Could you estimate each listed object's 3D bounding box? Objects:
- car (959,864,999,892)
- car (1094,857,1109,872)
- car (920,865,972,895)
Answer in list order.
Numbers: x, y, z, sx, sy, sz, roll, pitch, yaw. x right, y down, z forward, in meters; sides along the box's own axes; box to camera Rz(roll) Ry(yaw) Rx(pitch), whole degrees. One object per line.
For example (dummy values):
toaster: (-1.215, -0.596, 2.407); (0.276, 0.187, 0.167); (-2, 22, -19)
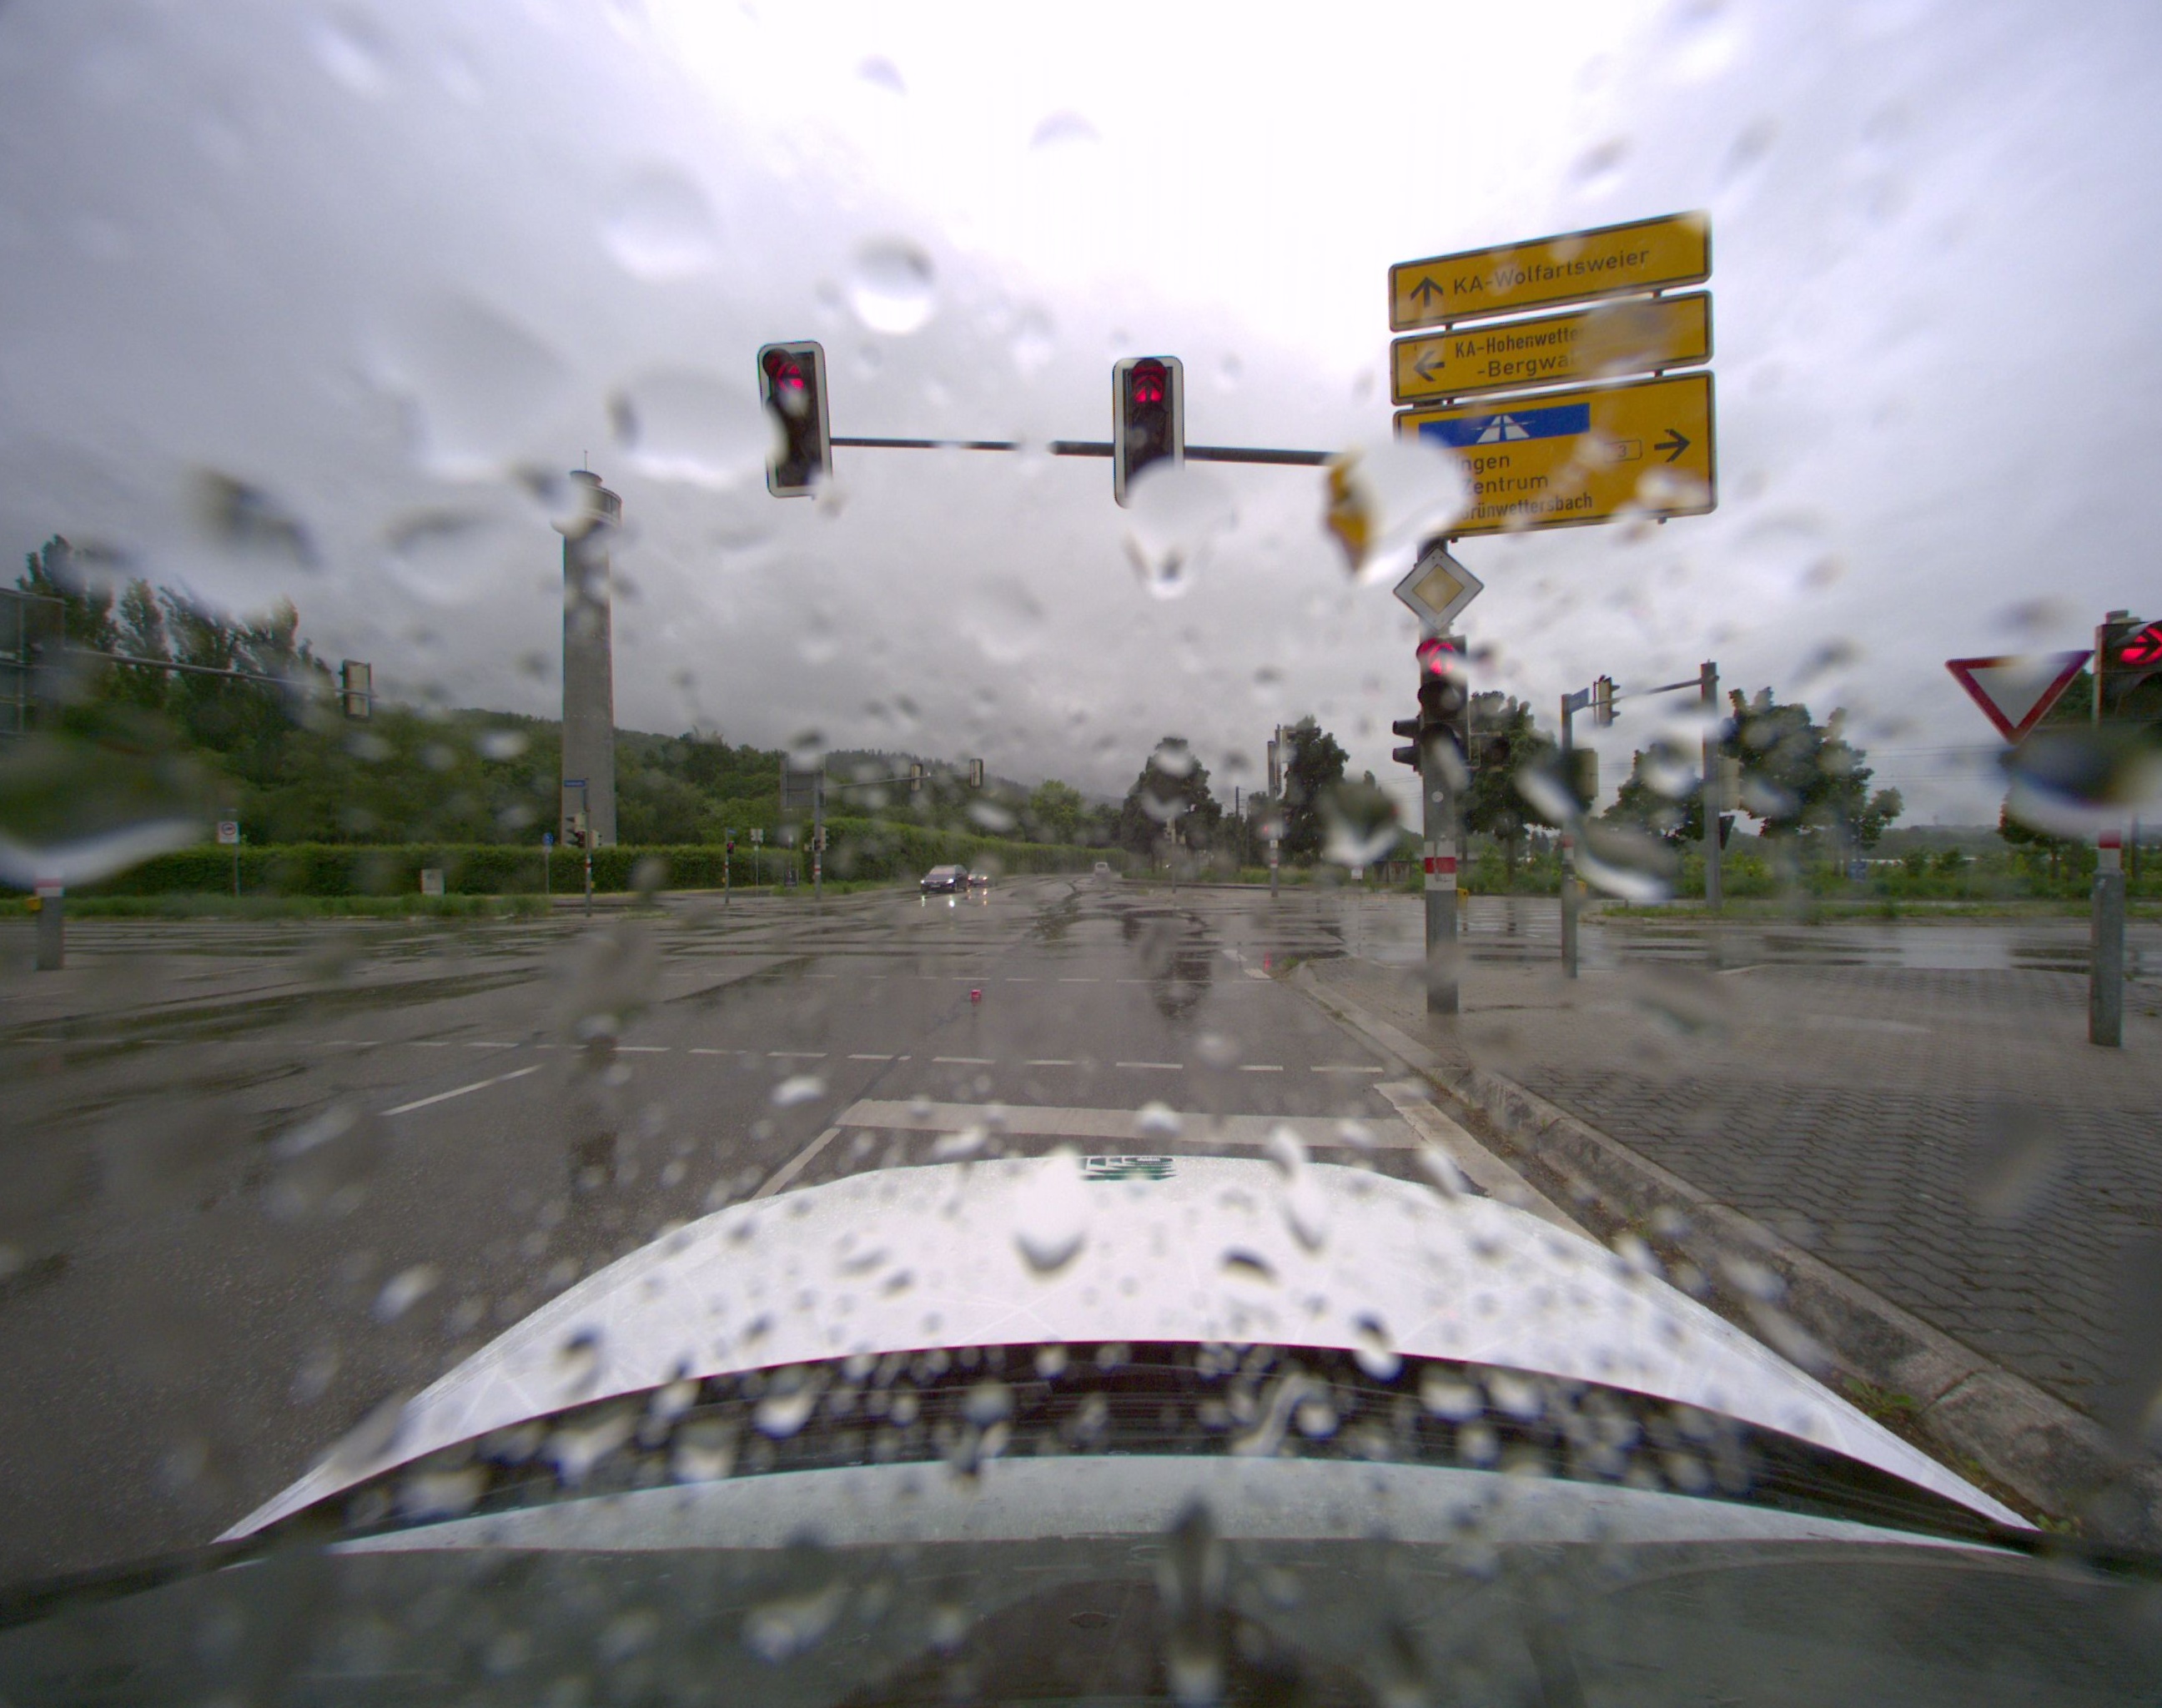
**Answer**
car: (-6.715, 1.577, 54.186); (2.029, 1.708, 4.067); (-1, 0, 2)
car: (2.818, 1.408, 111.432); (1.946, 1.904, 4.122); (-1, 0, 2)
car: (-7.167, 1.335, 43.743); (1.701, 1.466, 4.458); (-1, 0, 5)
